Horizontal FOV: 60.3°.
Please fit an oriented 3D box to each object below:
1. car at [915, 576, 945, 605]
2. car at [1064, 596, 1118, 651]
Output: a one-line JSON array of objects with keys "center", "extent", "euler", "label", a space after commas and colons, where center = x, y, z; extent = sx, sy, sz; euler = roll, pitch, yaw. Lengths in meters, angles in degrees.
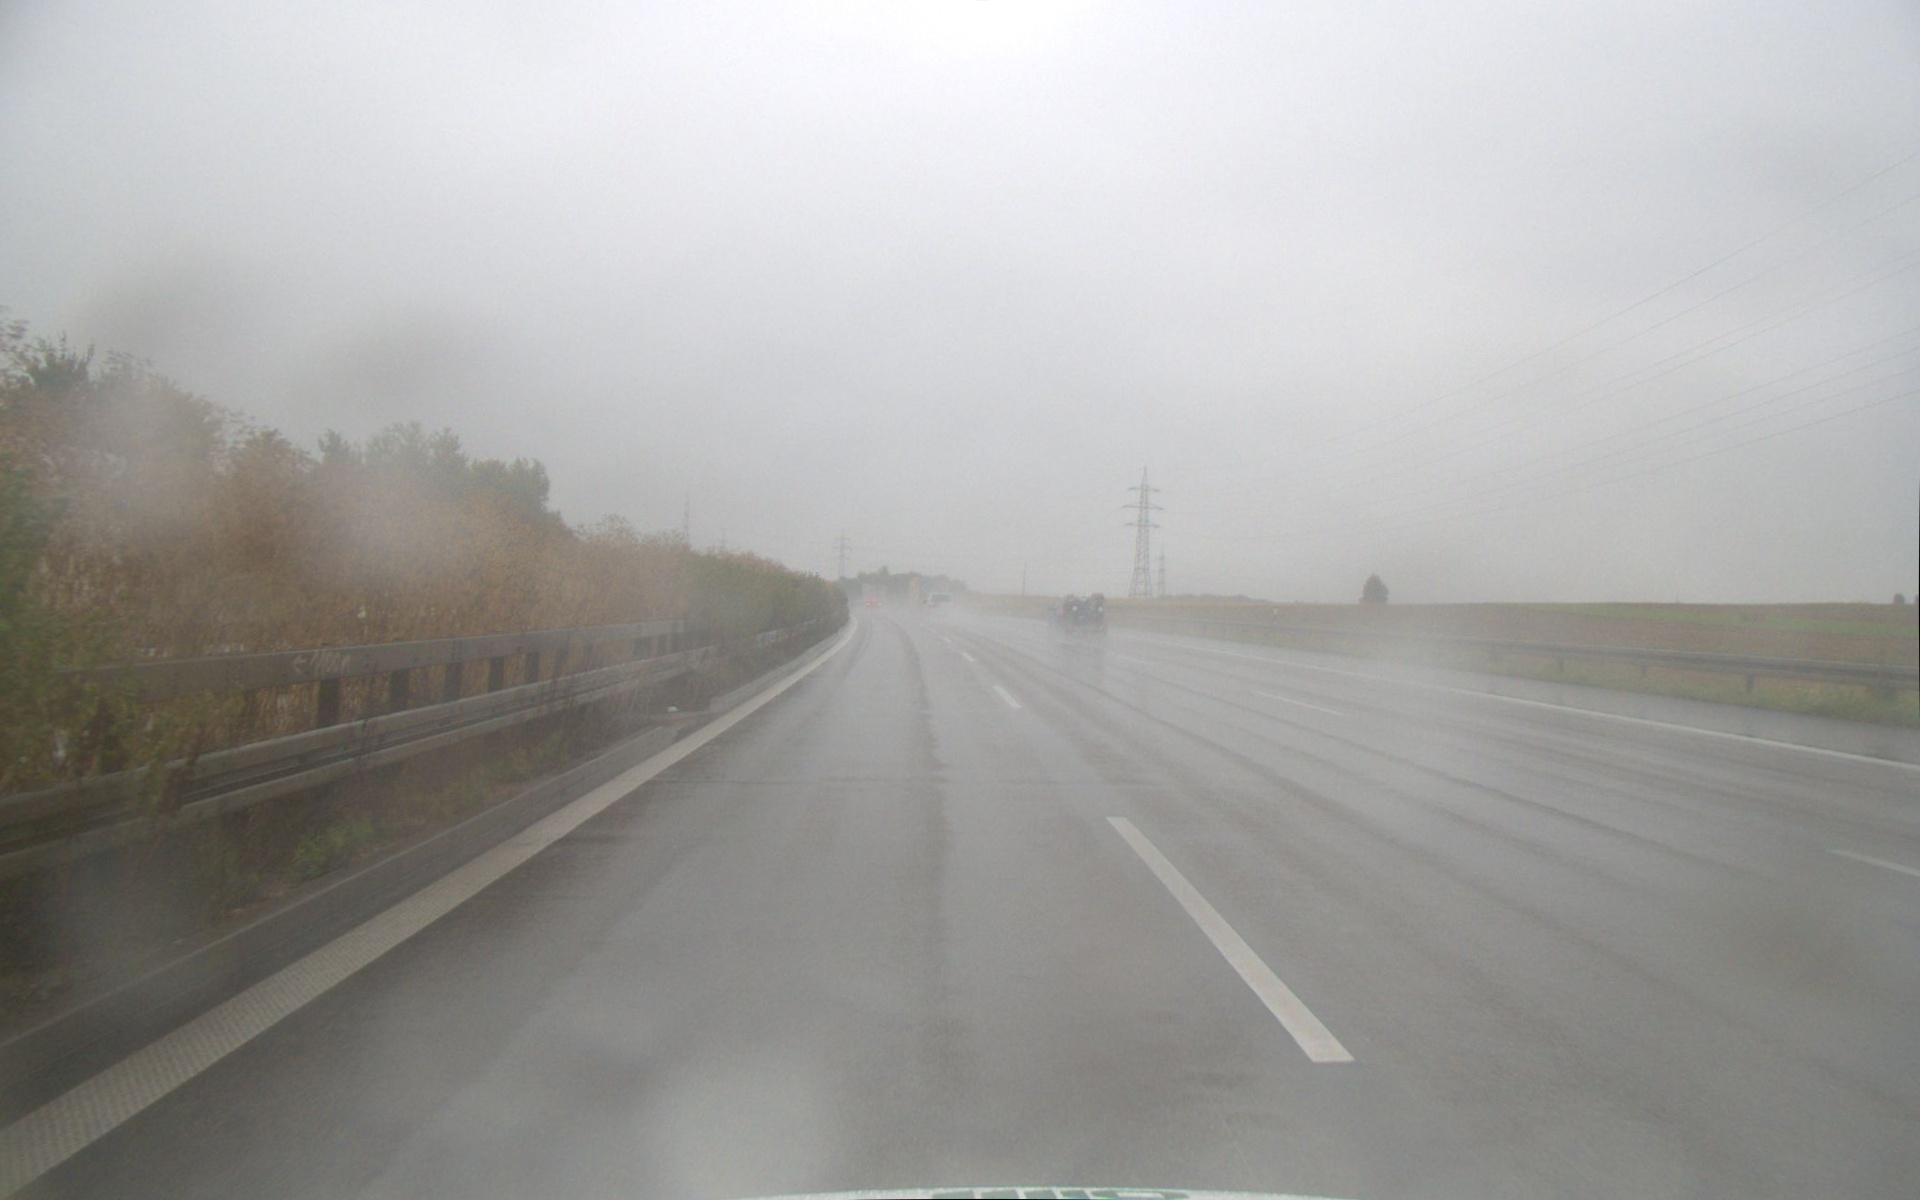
[{"center": [-3.510, -1.105, 193.224], "extent": [3.136, 3.248, 7.251], "euler": [1, 0, -4], "label": "car"}, {"center": [5.441, 0.955, 69.199], "extent": [1.770, 2.196, 3.998], "euler": [1, 0, -2], "label": "car"}]
